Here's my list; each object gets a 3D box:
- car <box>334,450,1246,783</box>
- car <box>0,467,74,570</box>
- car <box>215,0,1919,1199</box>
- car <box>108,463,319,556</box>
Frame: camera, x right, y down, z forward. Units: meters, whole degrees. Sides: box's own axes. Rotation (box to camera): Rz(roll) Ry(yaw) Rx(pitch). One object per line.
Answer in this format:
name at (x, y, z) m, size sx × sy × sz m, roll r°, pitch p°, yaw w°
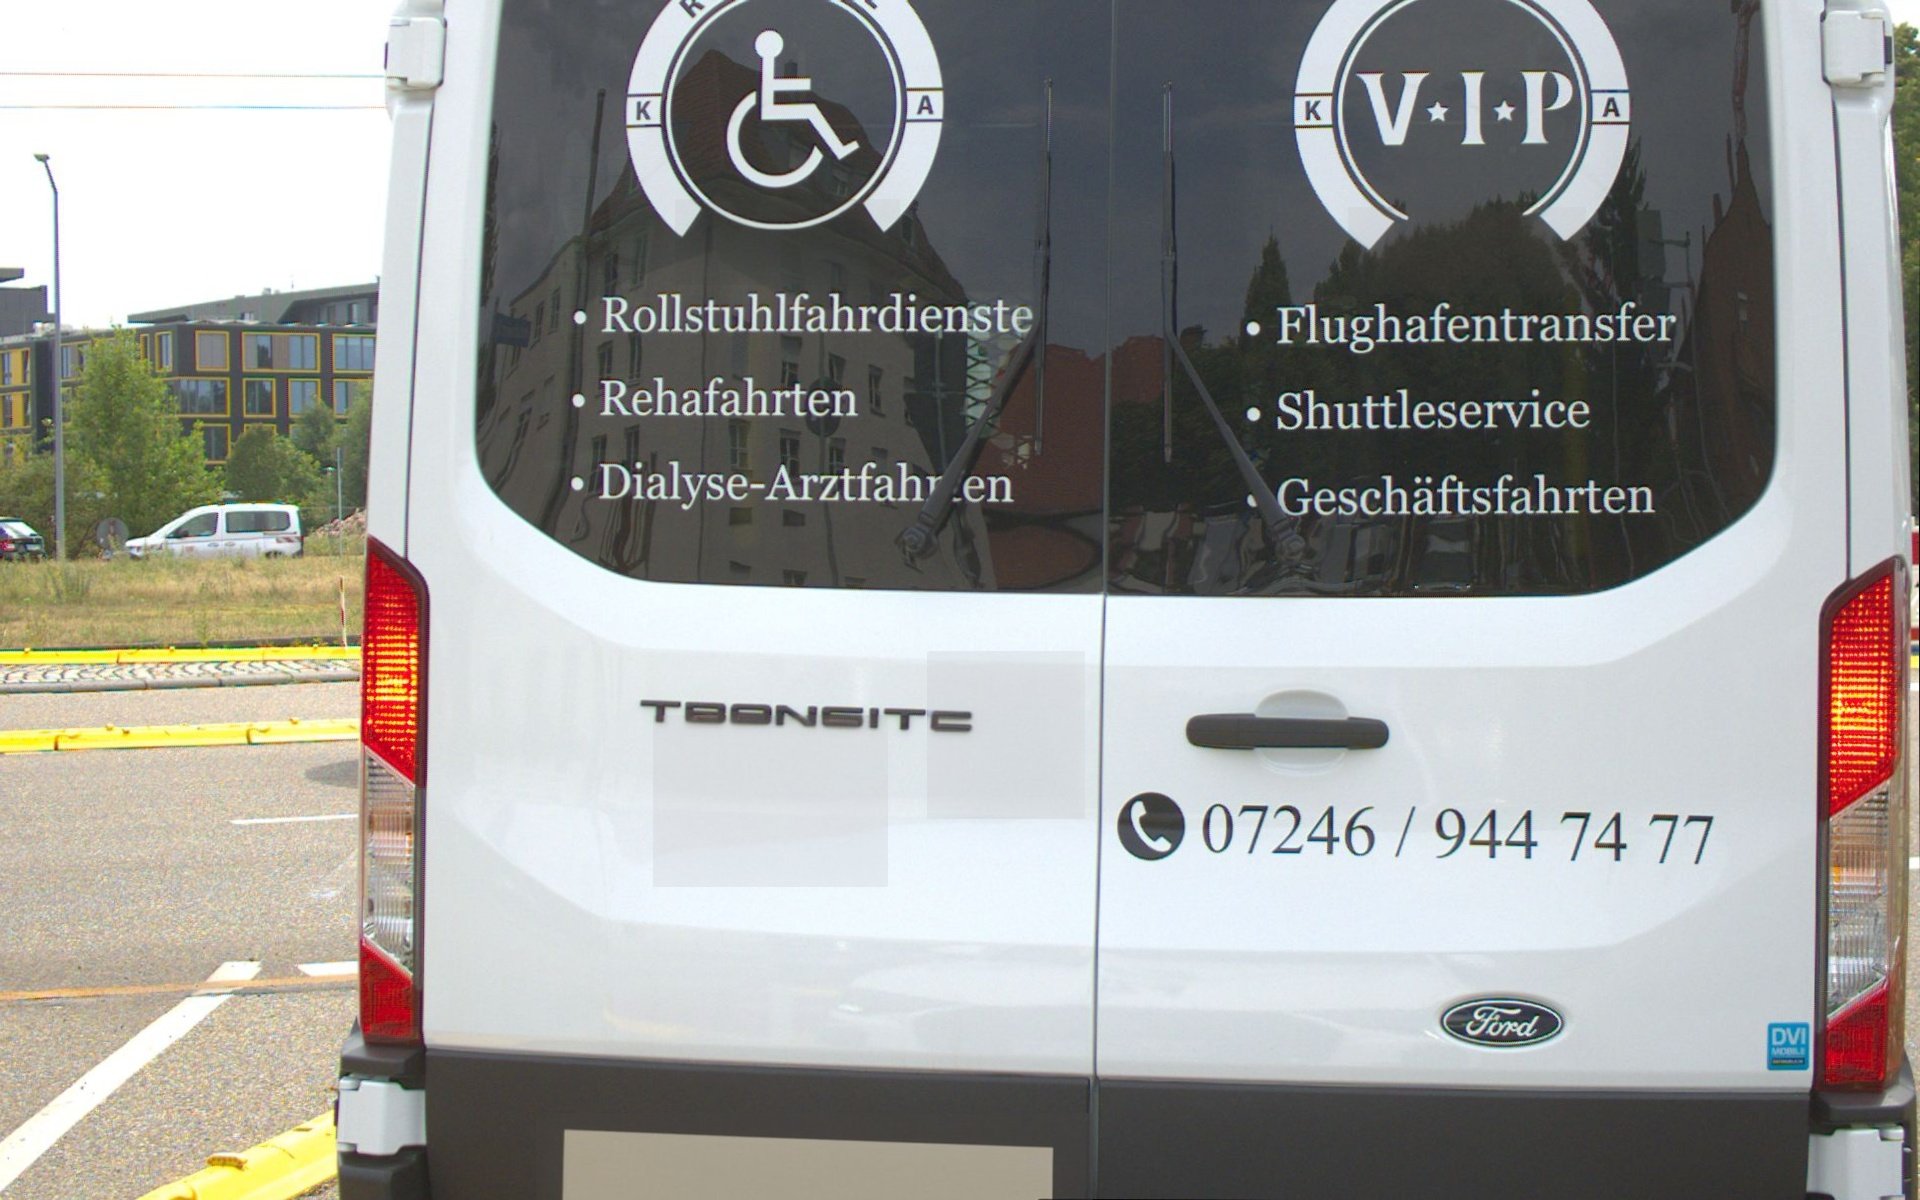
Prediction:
car at (-0.832, 0.012, 17.692) m, size 4.357 × 1.528 × 1.733 m, roll -2°, pitch 2°, yaw -29°
car at (-20.050, -1.613, 68.869) m, size 3.989 × 2.007 × 1.999 m, roll 0°, pitch 0°, yaw 14°
car at (0.435, -0.044, 6.710) m, size 2.126 × 2.688 × 5.631 m, roll 0°, pitch 1°, yaw 5°
car at (-16.737, -2.012, 77.091) m, size 4.346 × 2.007 × 2.000 m, roll 0°, pitch 0°, yaw -22°
